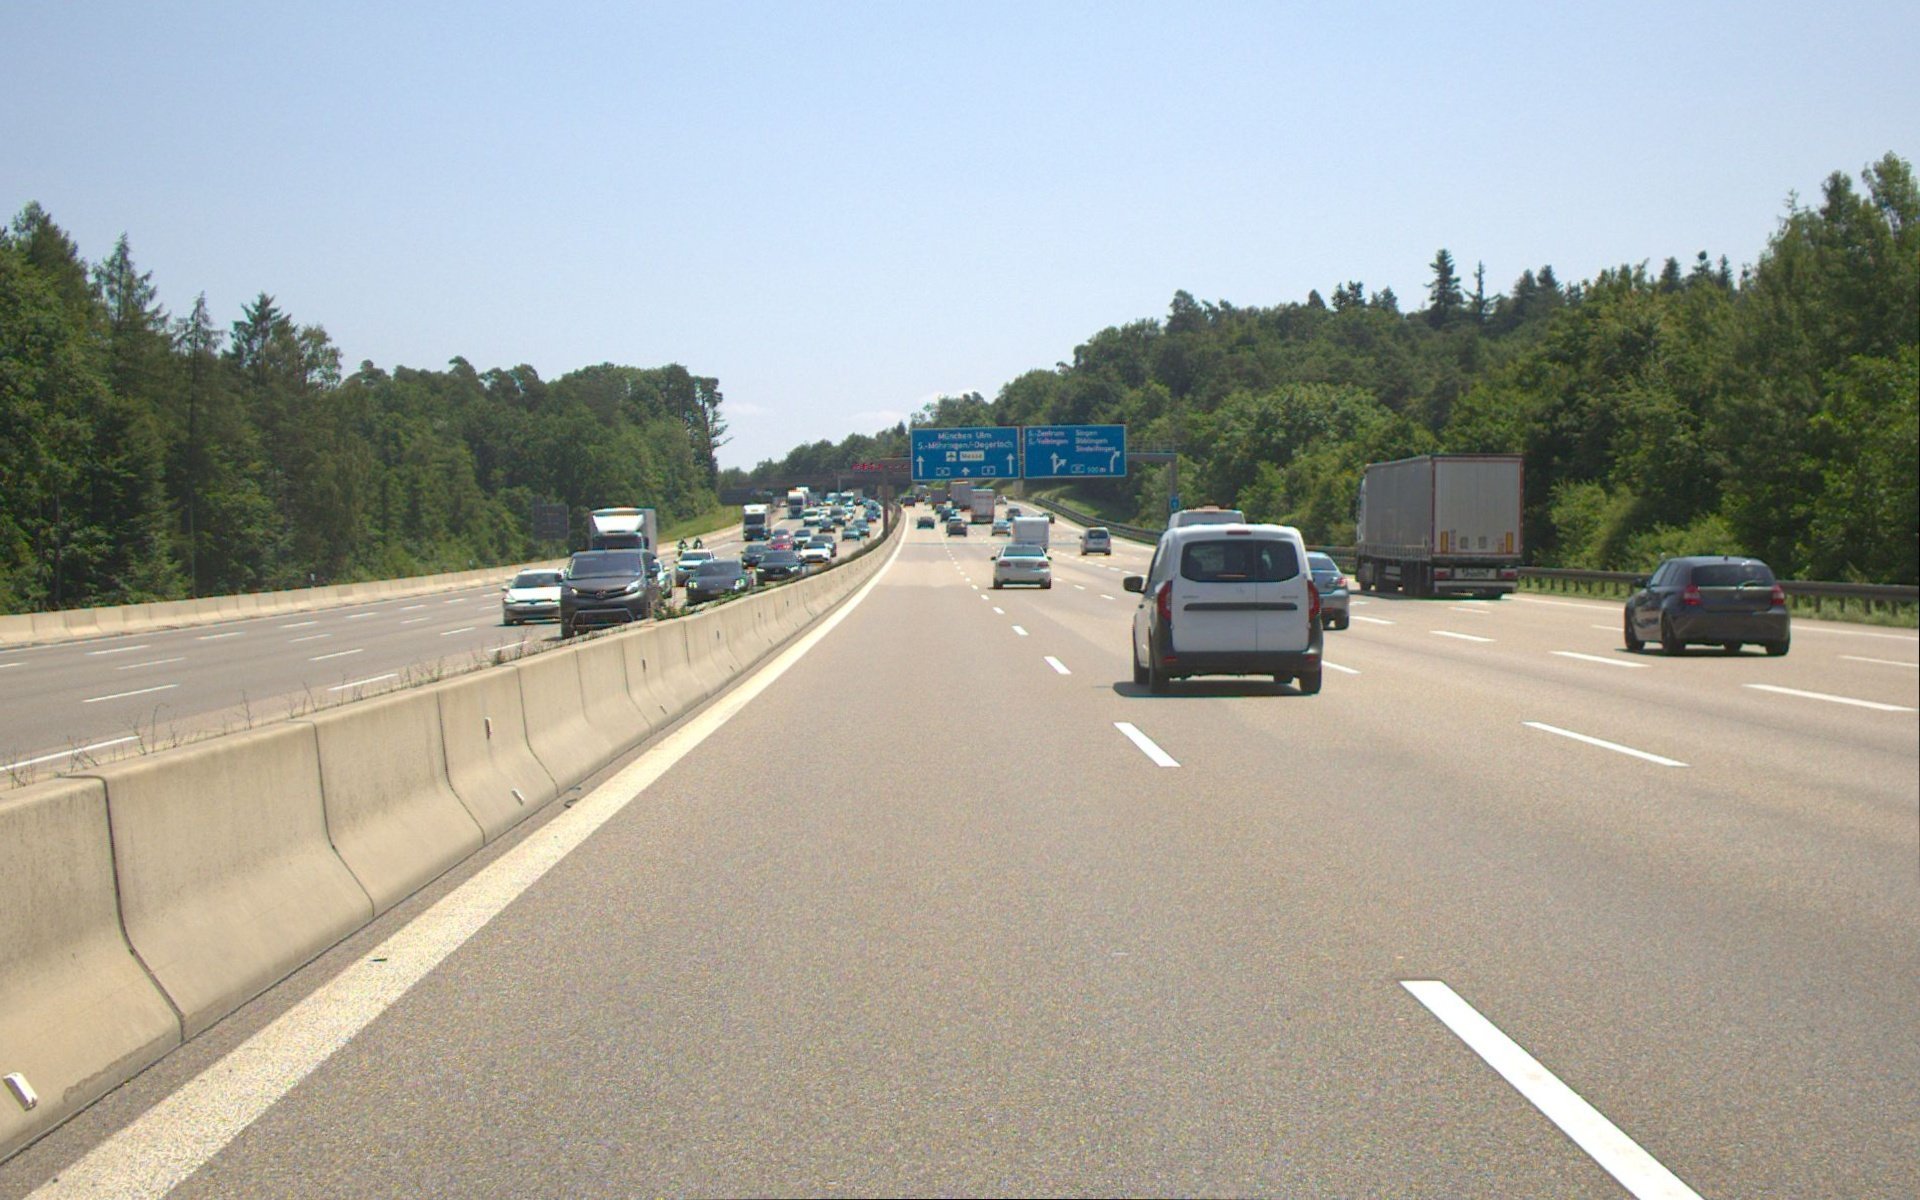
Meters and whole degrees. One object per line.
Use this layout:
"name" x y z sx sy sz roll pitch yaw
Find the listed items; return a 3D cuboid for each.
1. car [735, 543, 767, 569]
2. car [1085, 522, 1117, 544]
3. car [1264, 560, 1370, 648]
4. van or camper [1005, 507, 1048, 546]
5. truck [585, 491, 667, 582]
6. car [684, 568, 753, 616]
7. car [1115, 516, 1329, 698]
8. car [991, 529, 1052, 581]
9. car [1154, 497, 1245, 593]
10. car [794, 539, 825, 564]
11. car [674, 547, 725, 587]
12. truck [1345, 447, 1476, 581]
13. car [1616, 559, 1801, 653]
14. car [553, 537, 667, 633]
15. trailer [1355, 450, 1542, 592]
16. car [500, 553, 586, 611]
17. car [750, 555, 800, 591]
"car" -12.381 -2.618 204.037 1.702 1.422 4.614 -2 1 -1
"car" 9.114 -4.330 222.989 1.835 1.333 3.643 -2 1 -1
"car" 6.628 0.098 64.121 1.503 1.495 3.649 -2 -2 0
"van or camper" 4.459 -4.991 232.616 2.645 2.530 6.502 -2 1 0
"truck" -15.429 -2.945 159.400 2.858 3.999 9.469 -2 1 0
"car" -7.696 -0.269 109.965 1.913 1.459 4.588 -1 0 -1
"car" 2.808 0.035 37.755 1.859 1.819 4.612 -2 1 -1
"car" 2.036 -1.504 114.630 1.843 1.623 4.553 -2 1 0
"car" 6.814 -1.607 98.480 2.143 2.643 5.710 -1 2 0
"car" -9.067 -2.923 207.040 1.824 1.389 4.465 -2 1 -2
"car" -11.747 -1.509 155.269 1.913 1.655 4.689 -2 1 -1
"truck" 14.172 -2.737 108.584 3.254 4.092 5.988 0 2 -1
"car" 10.762 0.068 49.693 1.670 1.269 4.290 1 0 0
"car" -7.548 -0.364 74.602 1.898 1.947 5.657 -2 1 -1
"trailer" 14.323 -2.410 102.070 3.287 3.917 13.892 0 2 -1
"car" -11.277 -0.511 93.167 1.760 1.459 4.840 -1 1 -1
"car" -7.880 -1.143 146.685 1.913 1.459 4.364 -1 0 -1
